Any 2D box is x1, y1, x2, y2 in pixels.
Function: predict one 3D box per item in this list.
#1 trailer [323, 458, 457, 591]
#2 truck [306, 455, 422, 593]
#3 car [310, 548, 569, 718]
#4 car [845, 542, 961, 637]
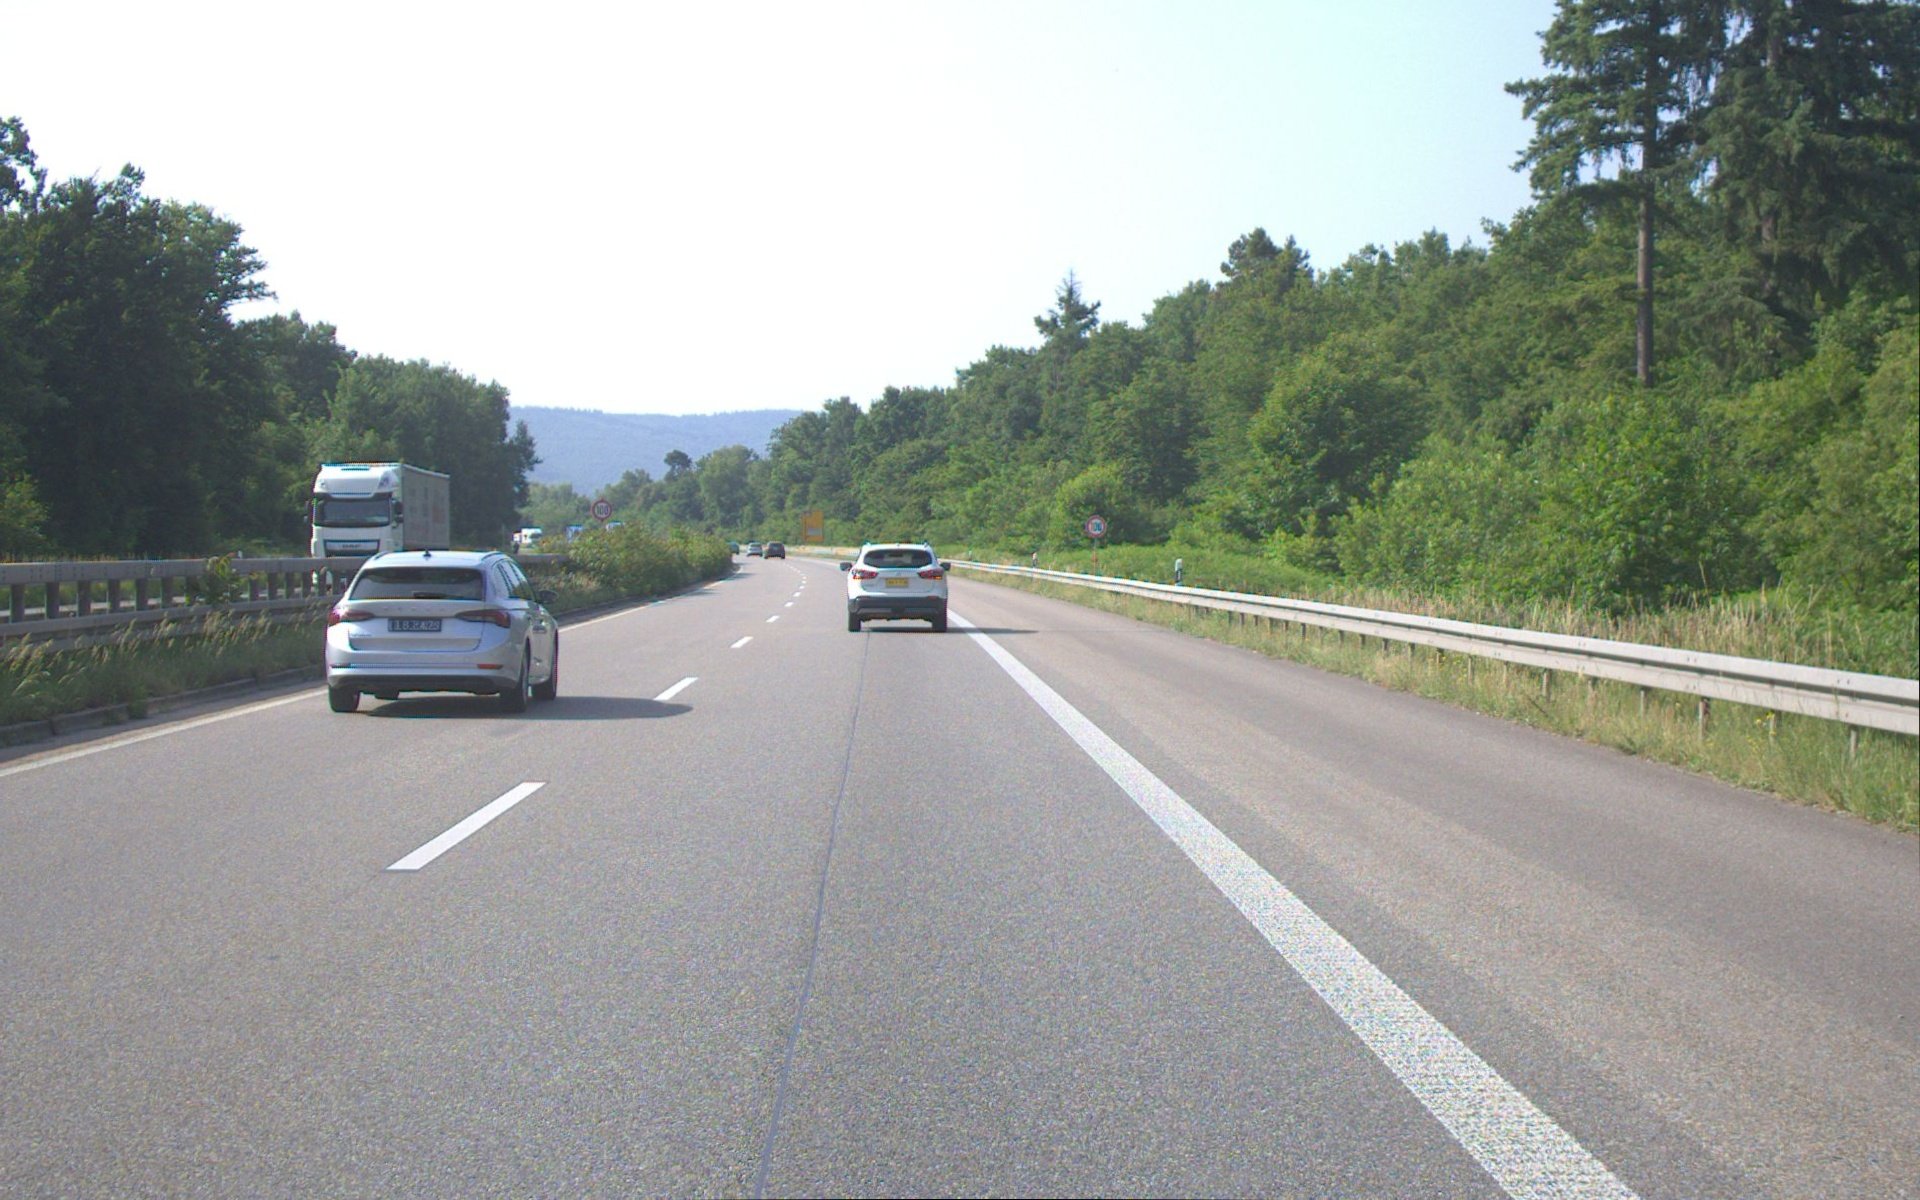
[{"bbox_3d":[-18.961,-2.482,115.076,2.832,4.194,12.413,-1,1,-2],"label":"trailer"},{"bbox_3d":[-18.682,-2.369,108.085,2.837,4.181,5.547,-1,1,-2],"label":"truck"},{"bbox_3d":[-4.808,0.248,32.414,1.792,1.433,5.279,0,1,-2],"label":"car"},{"bbox_3d":[-1.070,-0.216,62.716,1.873,1.581,4.001,2,1,-4],"label":"car"}]
